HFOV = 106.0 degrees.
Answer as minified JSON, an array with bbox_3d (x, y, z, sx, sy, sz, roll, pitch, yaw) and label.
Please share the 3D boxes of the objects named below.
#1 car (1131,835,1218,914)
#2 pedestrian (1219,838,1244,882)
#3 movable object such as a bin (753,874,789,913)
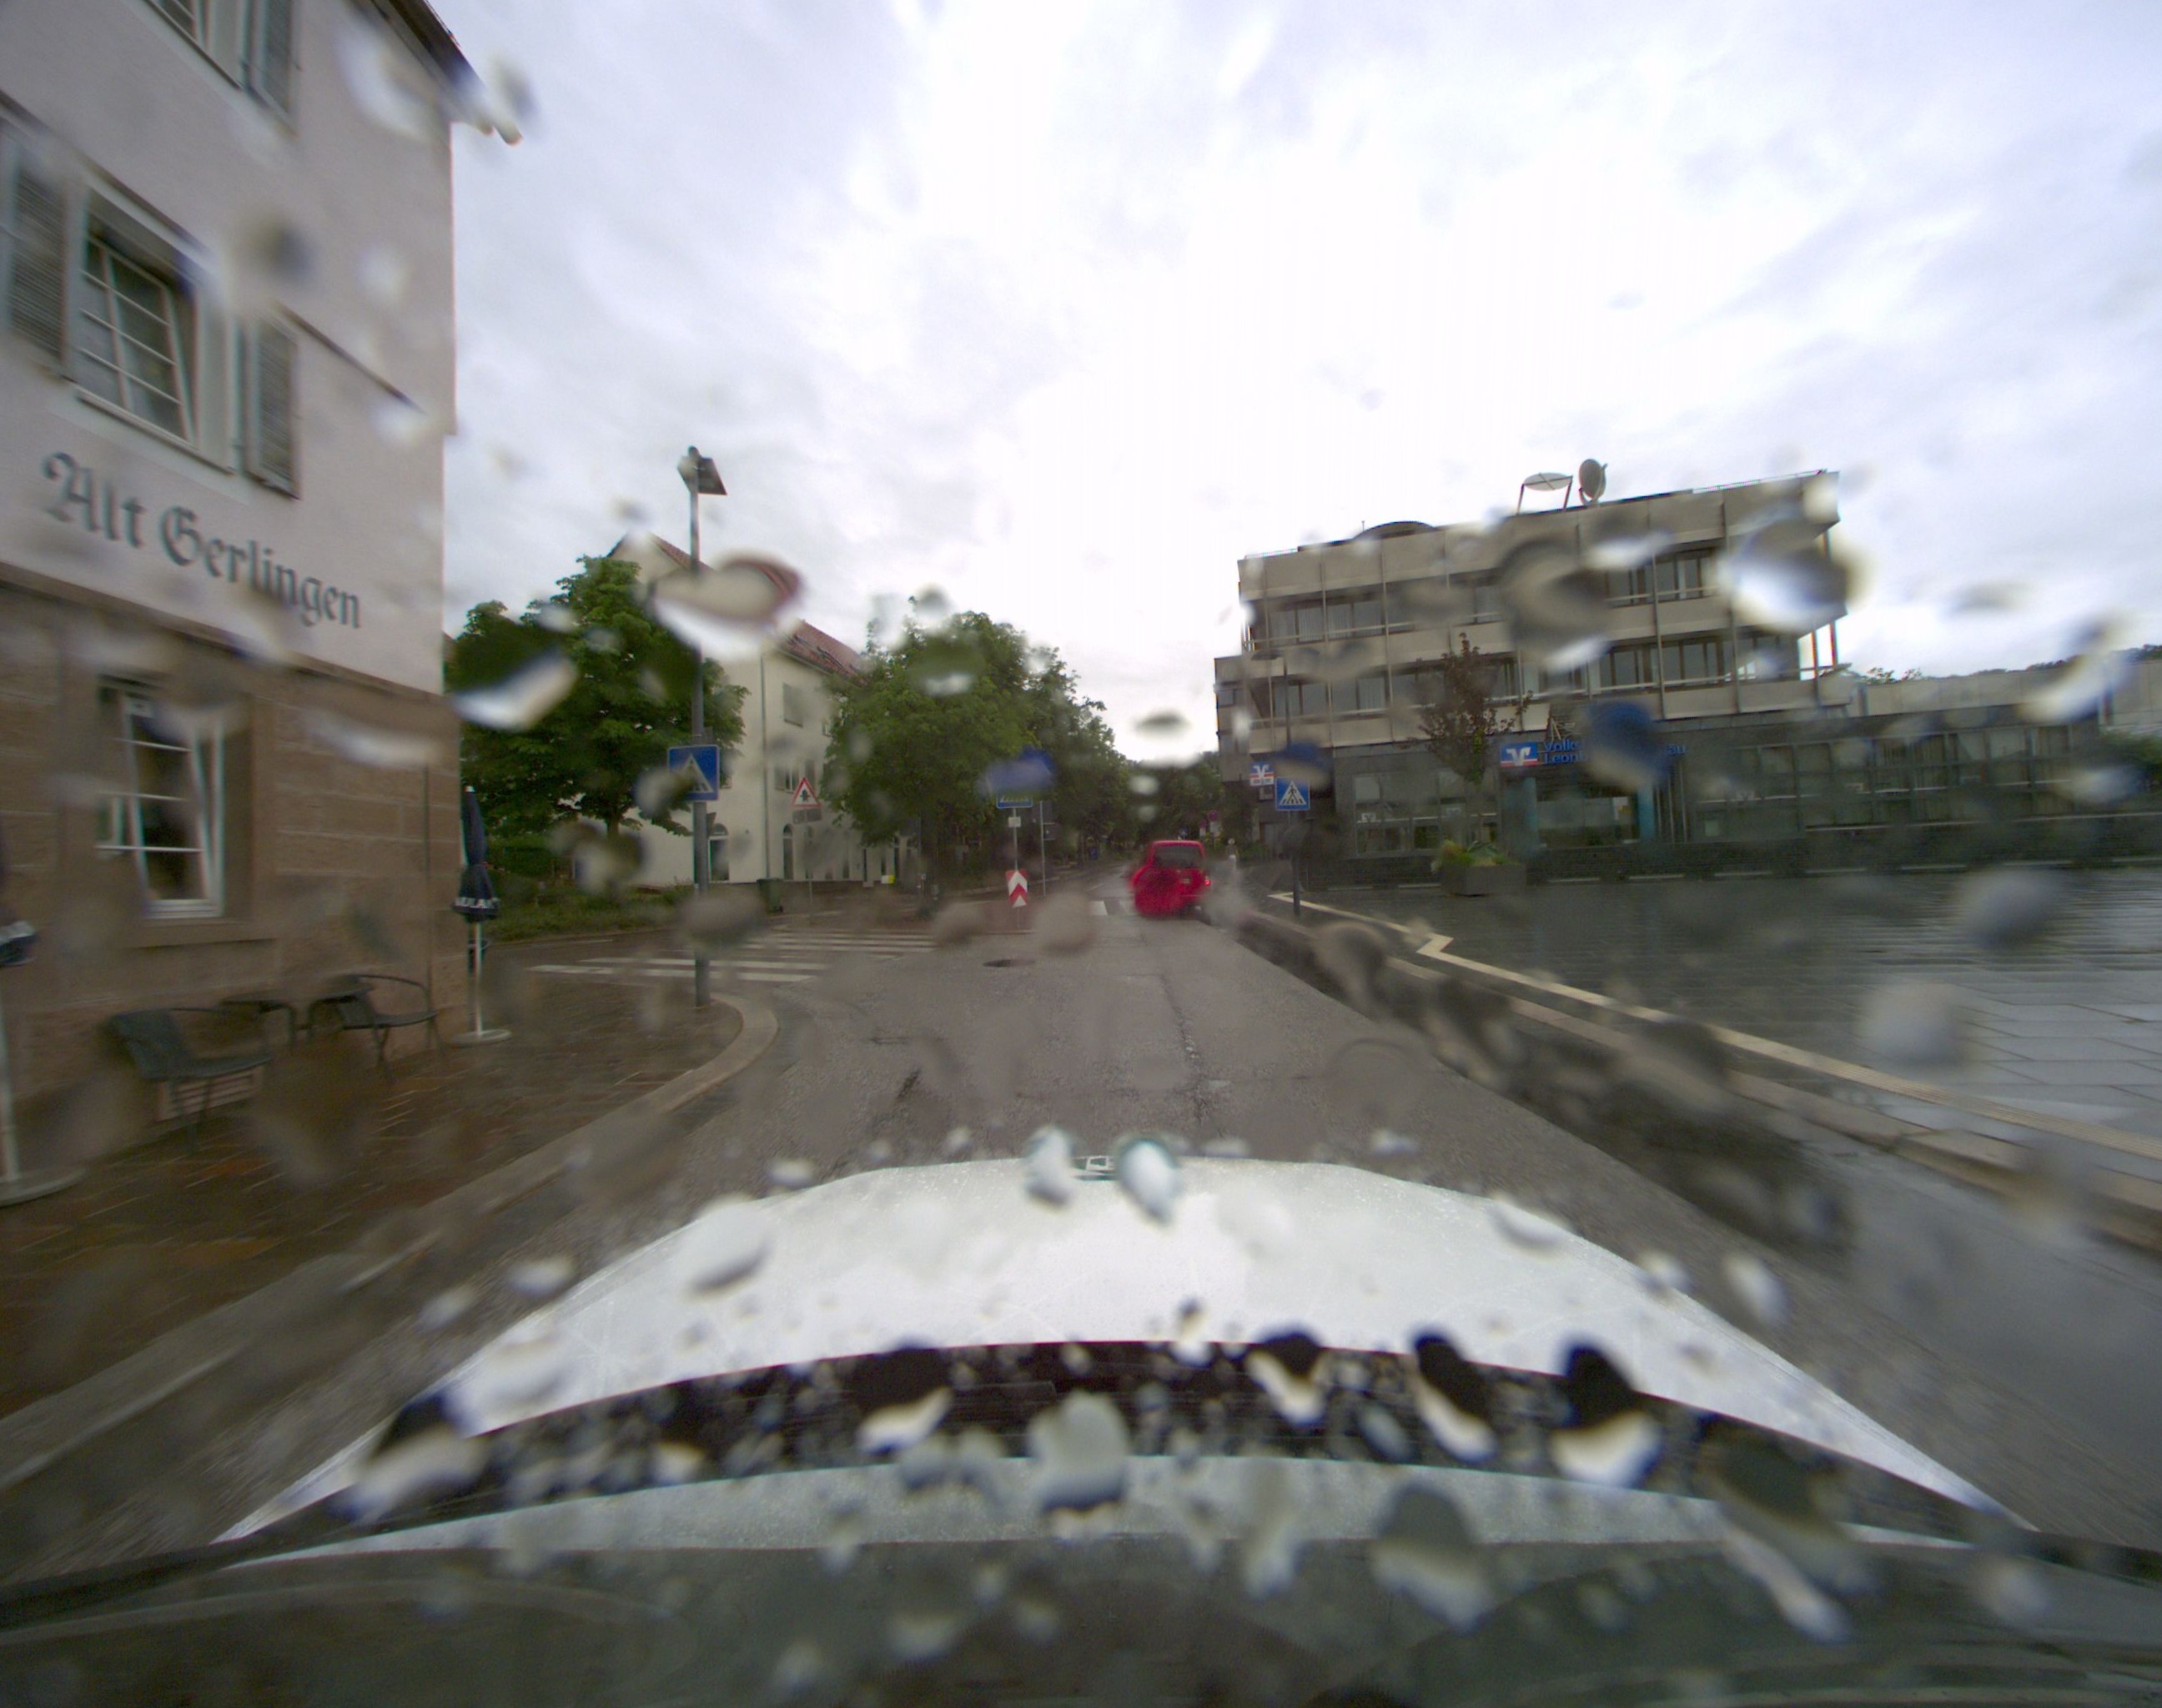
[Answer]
[{"bbox_3d":[2.382,0.520,21.767,1.855,1.830,4.185,-3,-1,1],"label":"car"},{"bbox_3d":[6.418,0.232,34.735,0.828,1.830,0.819,-3,0,19],"label":"pedestrian"},{"bbox_3d":[-9.565,1.221,25.128,0.731,1.124,0.653,-4,-1,16],"label":"movable object such as a bin"}]
